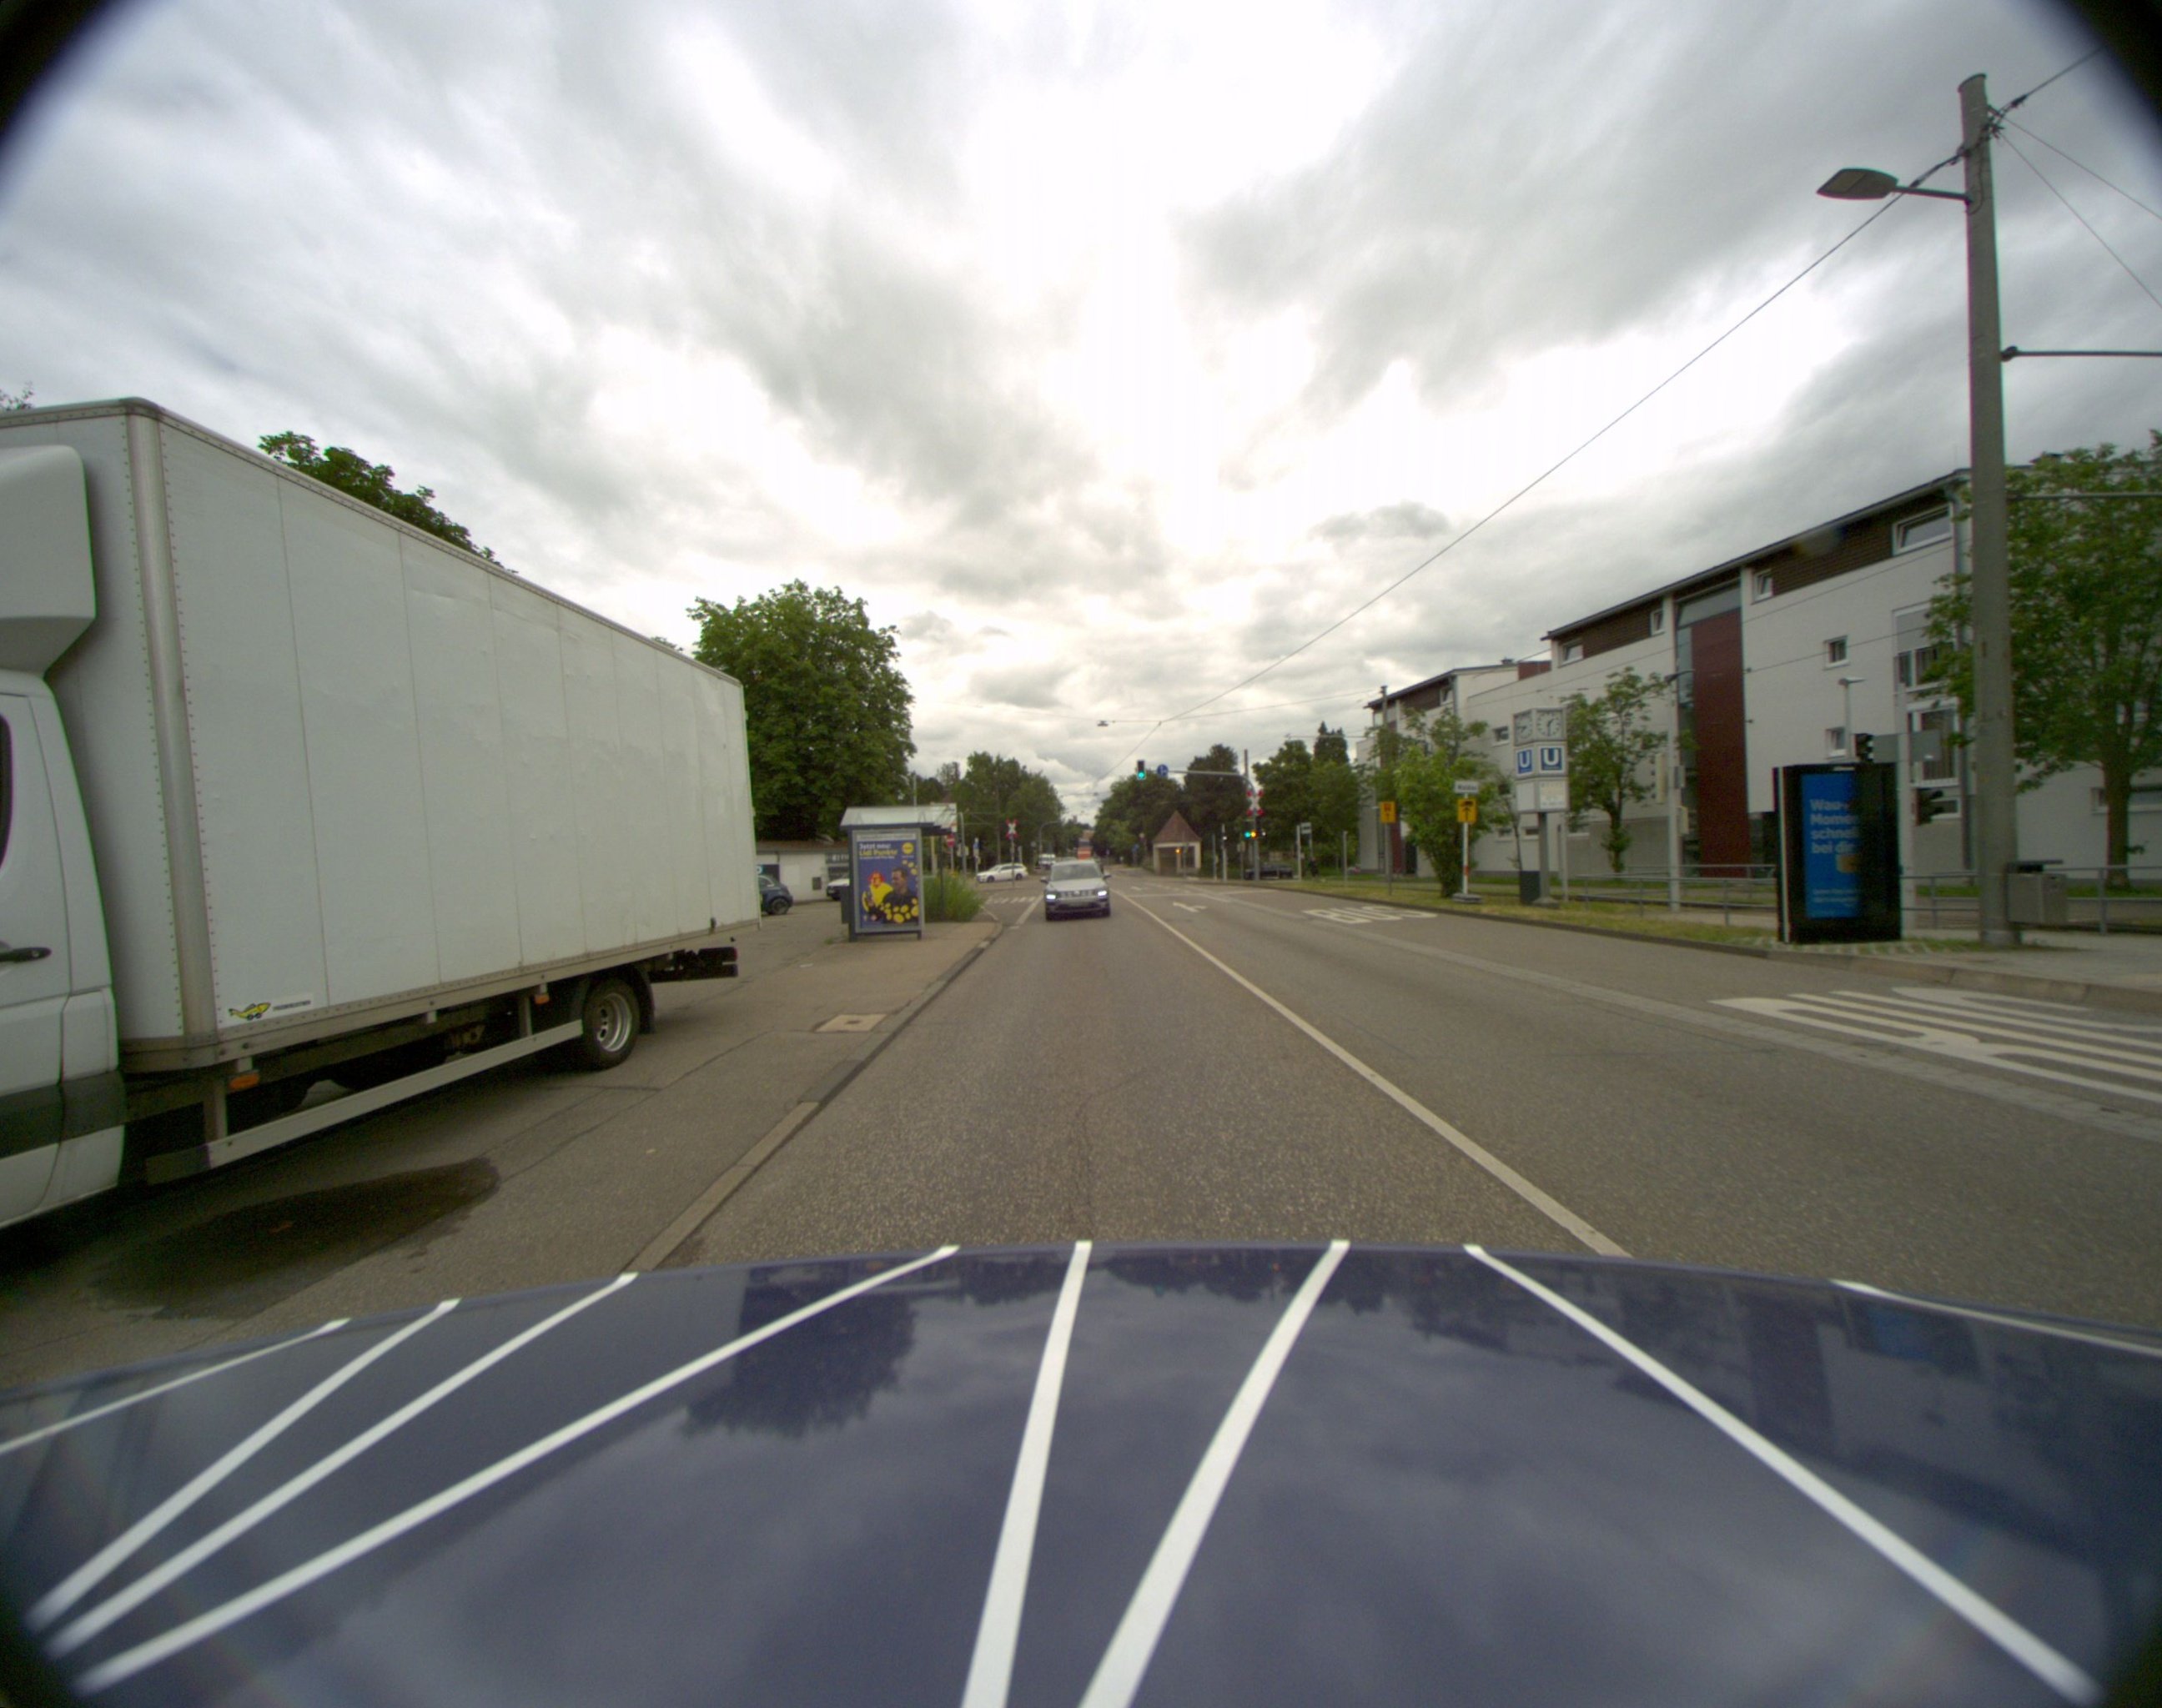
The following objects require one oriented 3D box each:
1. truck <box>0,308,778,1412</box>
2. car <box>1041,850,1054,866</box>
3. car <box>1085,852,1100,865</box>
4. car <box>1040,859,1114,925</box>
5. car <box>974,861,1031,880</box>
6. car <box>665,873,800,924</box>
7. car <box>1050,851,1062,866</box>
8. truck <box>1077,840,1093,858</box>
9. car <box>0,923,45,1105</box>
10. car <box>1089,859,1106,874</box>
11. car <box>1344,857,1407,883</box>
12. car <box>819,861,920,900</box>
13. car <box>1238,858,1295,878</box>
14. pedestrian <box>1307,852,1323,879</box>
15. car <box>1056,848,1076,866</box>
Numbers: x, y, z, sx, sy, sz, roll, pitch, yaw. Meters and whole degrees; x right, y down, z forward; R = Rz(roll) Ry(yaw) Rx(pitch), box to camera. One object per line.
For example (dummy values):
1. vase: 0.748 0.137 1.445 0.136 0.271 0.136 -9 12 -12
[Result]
1. truck: -4.689 0.040 4.316 2.579 3.504 7.810 -2 0 1
2. car: -5.633 0.625 126.016 2.095 2.589 6.679 -1 0 -3
3. car: 1.632 0.576 109.514 1.835 1.660 4.487 -5 0 -1
4. car: -0.231 1.034 22.786 1.835 1.610 4.486 -4 1 -4
5. car: -7.020 1.450 68.075 4.664 1.527 1.911 -2 0 -36
6. car: -12.158 1.481 26.536 4.006 1.468 1.875 -2 0 -32
7. car: -4.648 0.831 142.561 2.046 2.588 5.965 -1 0 -1
8. truck: 0.816 -0.999 157.546 2.776 3.697 8.466 0 0 -2
9. car: -10.216 1.360 4.952 3.734 1.436 1.605 -3 -1 -27
10. car: 1.899 1.397 86.784 1.744 1.550 4.182 -1 0 -1
11. car: 24.616 1.300 63.545 4.469 2.002 1.999 2 0 -7
12. car: -10.580 1.283 38.276 1.846 1.738 4.705 -2 0 37
13. car: 16.520 1.230 67.864 4.488 1.660 1.964 1 0 -8
14. pedestrian: 14.410 0.696 46.817 0.677 1.634 0.819 -1 -2 -6
15. car: -1.571 0.272 78.105 1.812 1.736 3.999 -2 0 -3
